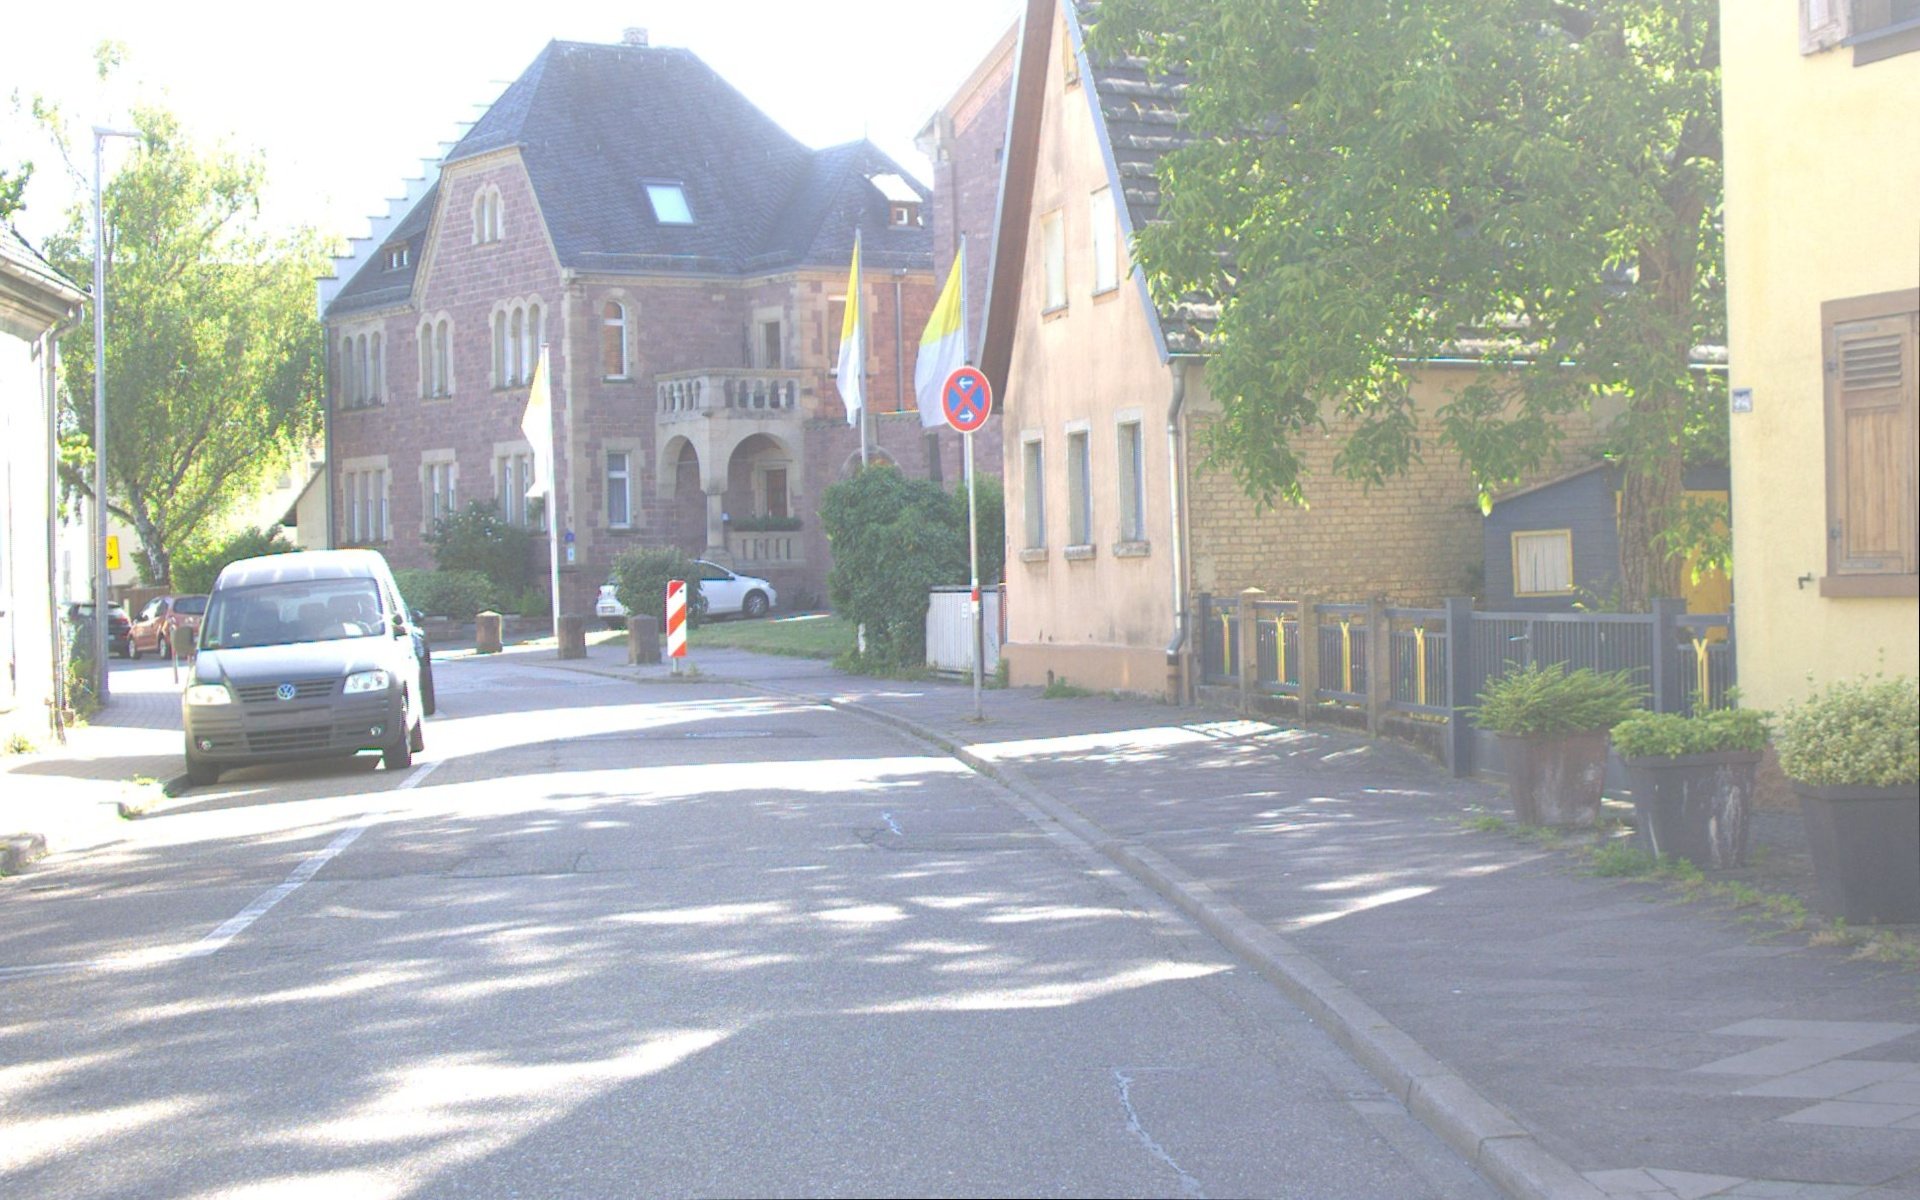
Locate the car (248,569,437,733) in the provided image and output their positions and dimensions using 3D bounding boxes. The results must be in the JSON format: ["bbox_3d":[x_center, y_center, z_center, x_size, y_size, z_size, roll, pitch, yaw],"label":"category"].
[{"bbox_3d":[-7.307,0.568,40.397,1.825,1.727,4.203,-3,1,-14],"label":"car"}]

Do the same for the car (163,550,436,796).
[{"bbox_3d":[-5.444,0.552,28.793,1.825,1.808,4.203,-3,1,-6],"label":"car"}]

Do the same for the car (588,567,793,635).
[{"bbox_3d":[-5.959,0.007,76.345,4.234,1.396,1.718,-2,0,-36],"label":"car"}]

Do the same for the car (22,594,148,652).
[{"bbox_3d":[-21.934,0.581,86.074,1.712,1.396,4.247,-2,0,-34],"label":"car"}]

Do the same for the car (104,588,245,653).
[{"bbox_3d":[-18.053,0.473,78.917,1.712,1.396,4.247,-2,0,-34],"label":"car"}]
